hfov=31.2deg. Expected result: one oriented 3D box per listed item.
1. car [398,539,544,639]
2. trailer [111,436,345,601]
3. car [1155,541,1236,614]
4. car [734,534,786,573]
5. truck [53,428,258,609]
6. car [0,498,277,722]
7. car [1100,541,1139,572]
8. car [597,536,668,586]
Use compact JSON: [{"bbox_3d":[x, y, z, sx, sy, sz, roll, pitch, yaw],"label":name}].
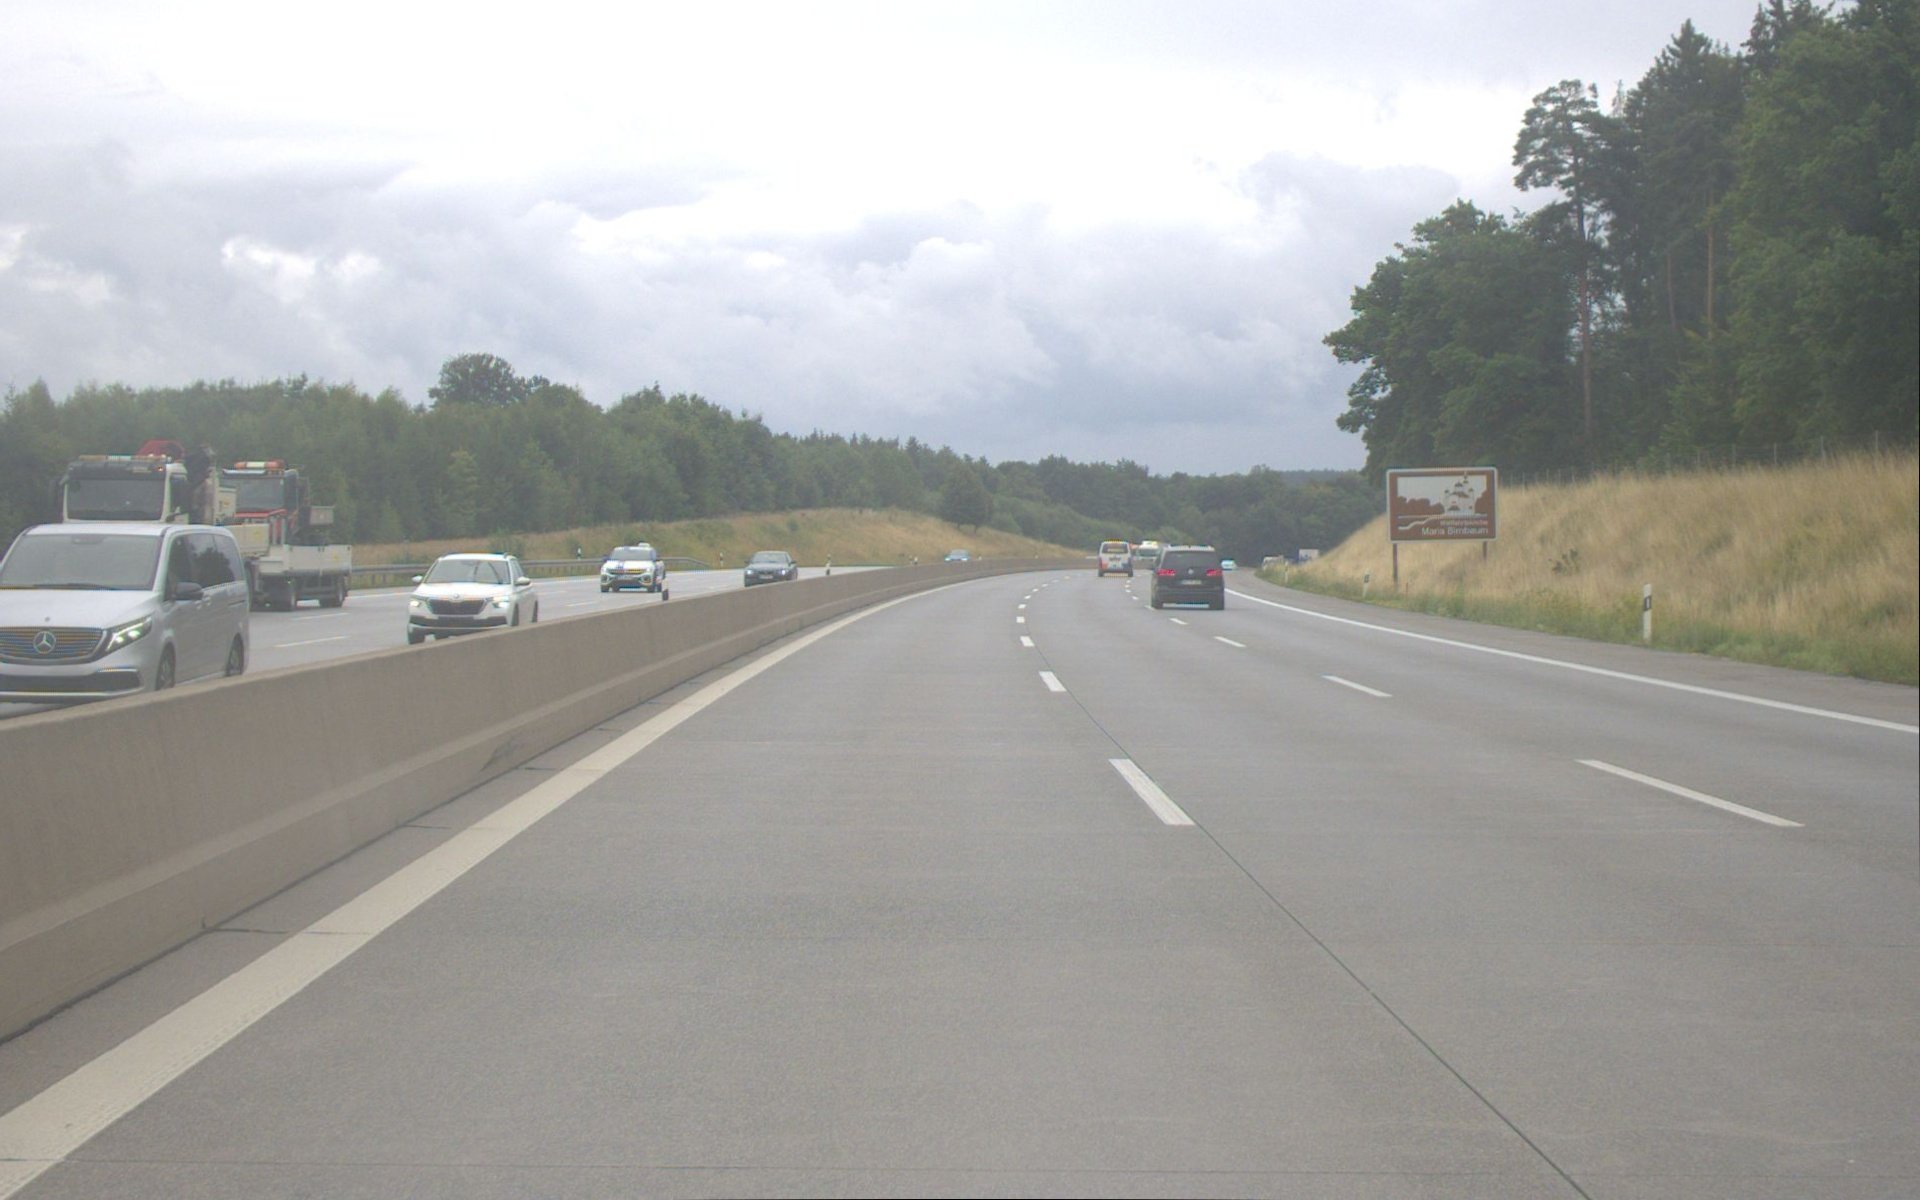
[{"bbox_3d":[-8.094,-0.219,57.249,1.714,1.415,4.213,3,2,1],"label":"car"},{"bbox_3d":[-16.950,-1.834,80.710,2.586,3.530,13.724,0,1,0],"label":"trailer"},{"bbox_3d":[6.281,-0.626,91.911,1.785,1.741,3.916,-3,2,0],"label":"car"},{"bbox_3d":[-7.551,-1.737,130.010,1.762,1.262,4.494,-1,-1,-1],"label":"car"},{"bbox_3d":[-16.938,-1.721,72.873,2.586,3.640,7.661,0,1,0],"label":"truck"},{"bbox_3d":[-8.391,0.009,34.527,1.993,2.006,5.526,2,2,-1],"label":"car"},{"bbox_3d":[8.797,-2.418,189.769,1.841,1.495,4.001,-3,2,0],"label":"car"},{"bbox_3d":[-11.020,-1.328,115.988,1.763,1.581,4.757,1,2,2],"label":"car"}]
